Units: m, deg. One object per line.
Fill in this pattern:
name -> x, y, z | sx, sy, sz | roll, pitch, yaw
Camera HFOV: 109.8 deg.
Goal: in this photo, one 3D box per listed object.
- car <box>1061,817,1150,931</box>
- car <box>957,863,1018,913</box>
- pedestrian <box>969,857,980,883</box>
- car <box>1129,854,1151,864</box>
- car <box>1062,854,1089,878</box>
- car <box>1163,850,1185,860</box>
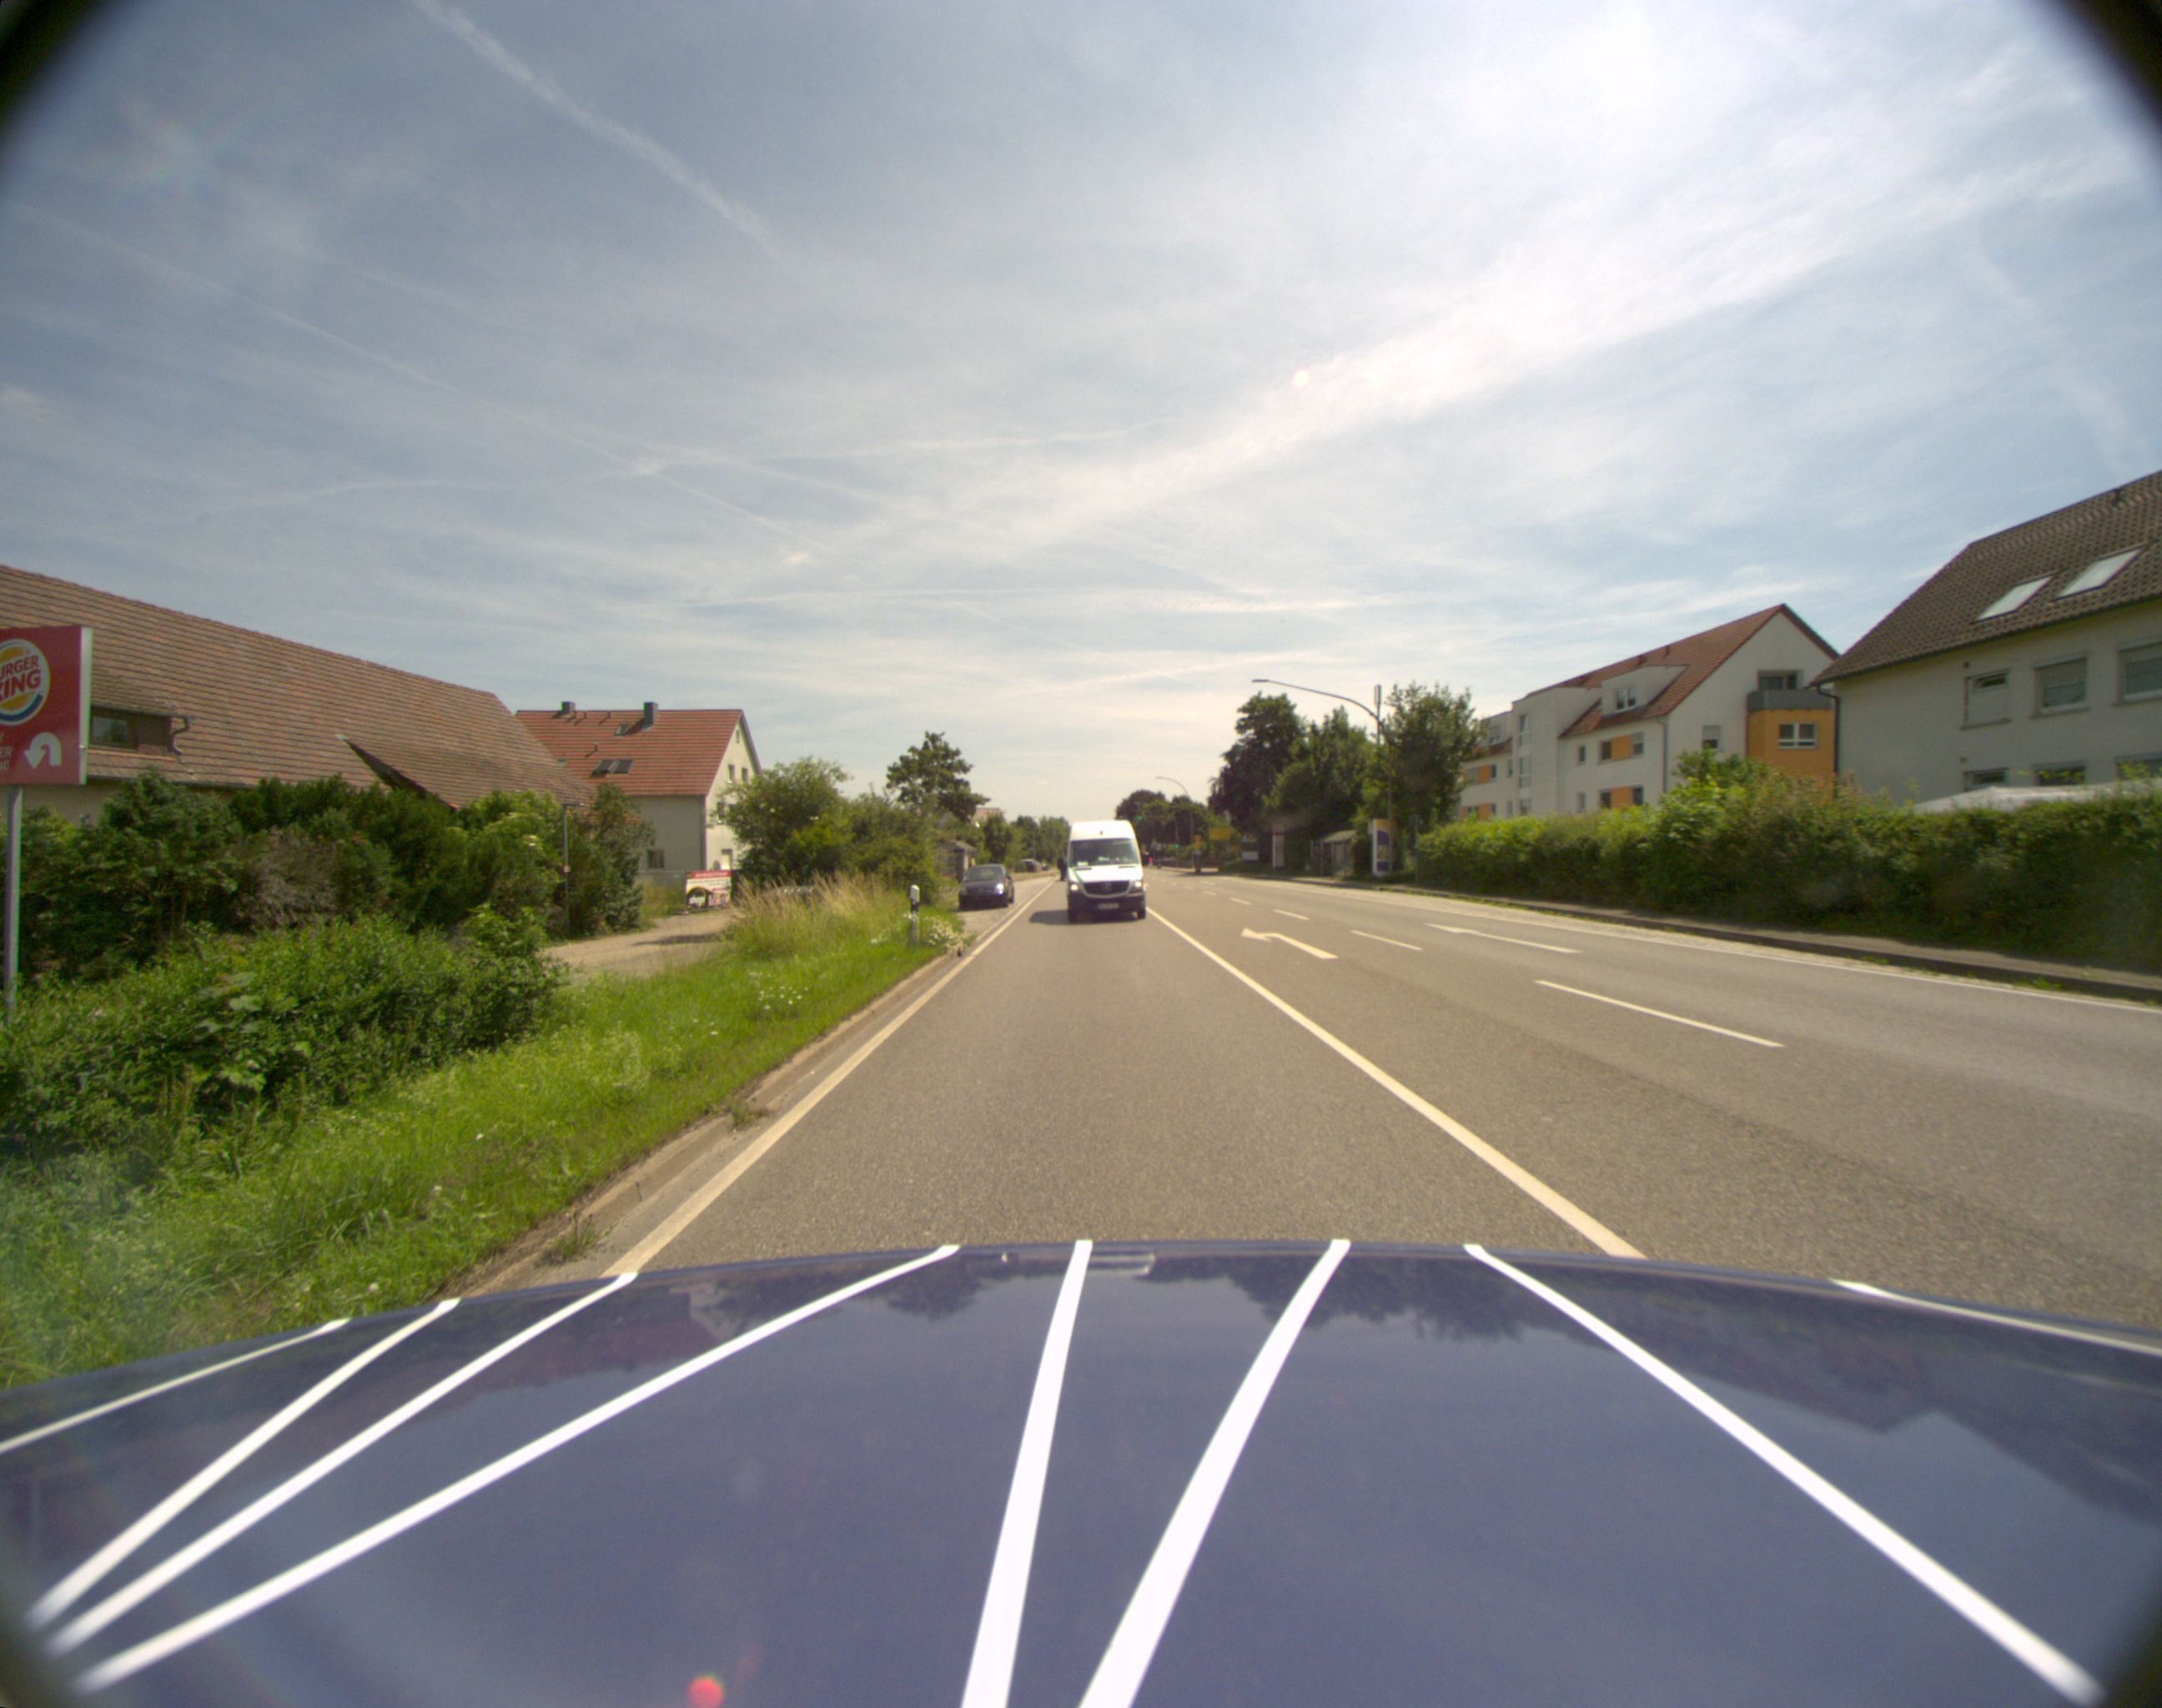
car -> 0.579, 0.450, 20.036 | 1.939, 2.514, 5.749 | -2, 0, 1
car -> -3.243, 1.138, 26.923 | 1.636, 1.476, 3.551 | -5, 1, 0
pedestrian -> -6.430, 0.948, 45.752 | 0.522, 1.540, 0.562 | -2, 2, -18
car -> 11.463, 0.947, 147.195 | 3.998, 1.744, 1.999 | -3, 1, -4
car -> -0.373, 0.879, 56.703 | 1.884, 1.652, 4.626 | -3, 0, 1
car -> 17.980, 0.215, 147.165 | 3.998, 1.760, 1.999 | -3, 1, -3
